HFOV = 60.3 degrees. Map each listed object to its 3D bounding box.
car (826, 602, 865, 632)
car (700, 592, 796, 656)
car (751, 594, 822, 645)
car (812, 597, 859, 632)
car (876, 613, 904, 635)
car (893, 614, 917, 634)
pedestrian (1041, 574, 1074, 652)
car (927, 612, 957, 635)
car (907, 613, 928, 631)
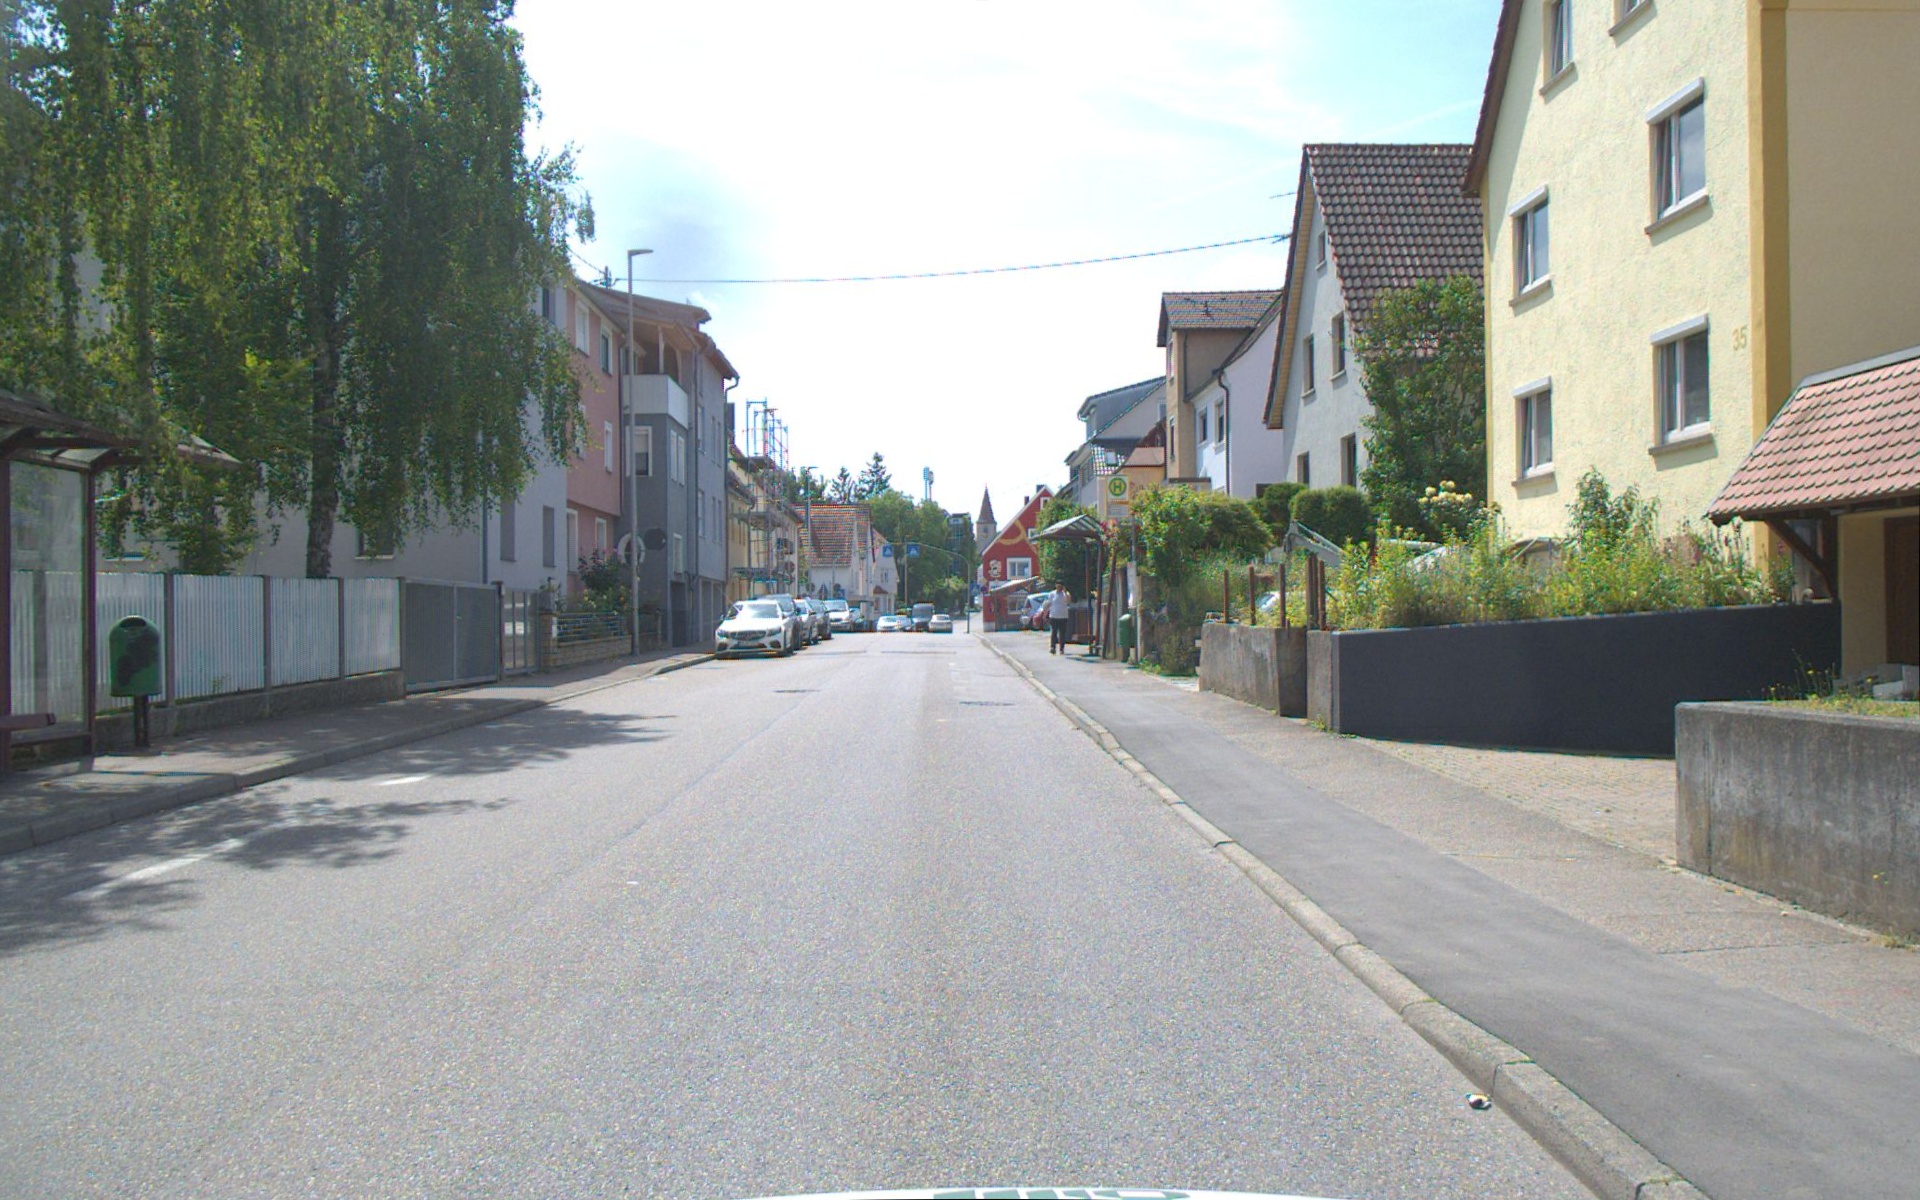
[{"bbox_3d":[-6.378,0.906,92.564,1.953,1.588,4.312,-1,0,-2],"label":"car"},{"bbox_3d":[-5.598,0.603,44.142,2.068,1.588,4.312,-1,0,-1],"label":"car"},{"bbox_3d":[-5.733,0.607,55.071,1.953,1.588,4.313,-1,0,-1],"label":"car"},{"bbox_3d":[-5.950,0.658,79.624,1.953,1.588,4.313,-1,0,-1],"label":"car"},{"bbox_3d":[-5.177,1.738,122.112,1.802,1.489,4.001,-2,0,1],"label":"car"},{"bbox_3d":[-4.424,1.910,133.947,1.802,1.489,4.000,-2,0,0],"label":"car"},{"bbox_3d":[2.281,0.302,38.641,0.633,1.760,0.608,-3,0,-1],"label":"pedestrian"},{"bbox_3d":[-1.328,1.749,122.962,1.954,1.588,4.310,-1,0,-4],"label":"car"},{"bbox_3d":[-3.818,2.007,148.619,1.803,1.489,3.999,-2,0,-1],"label":"car"}]
